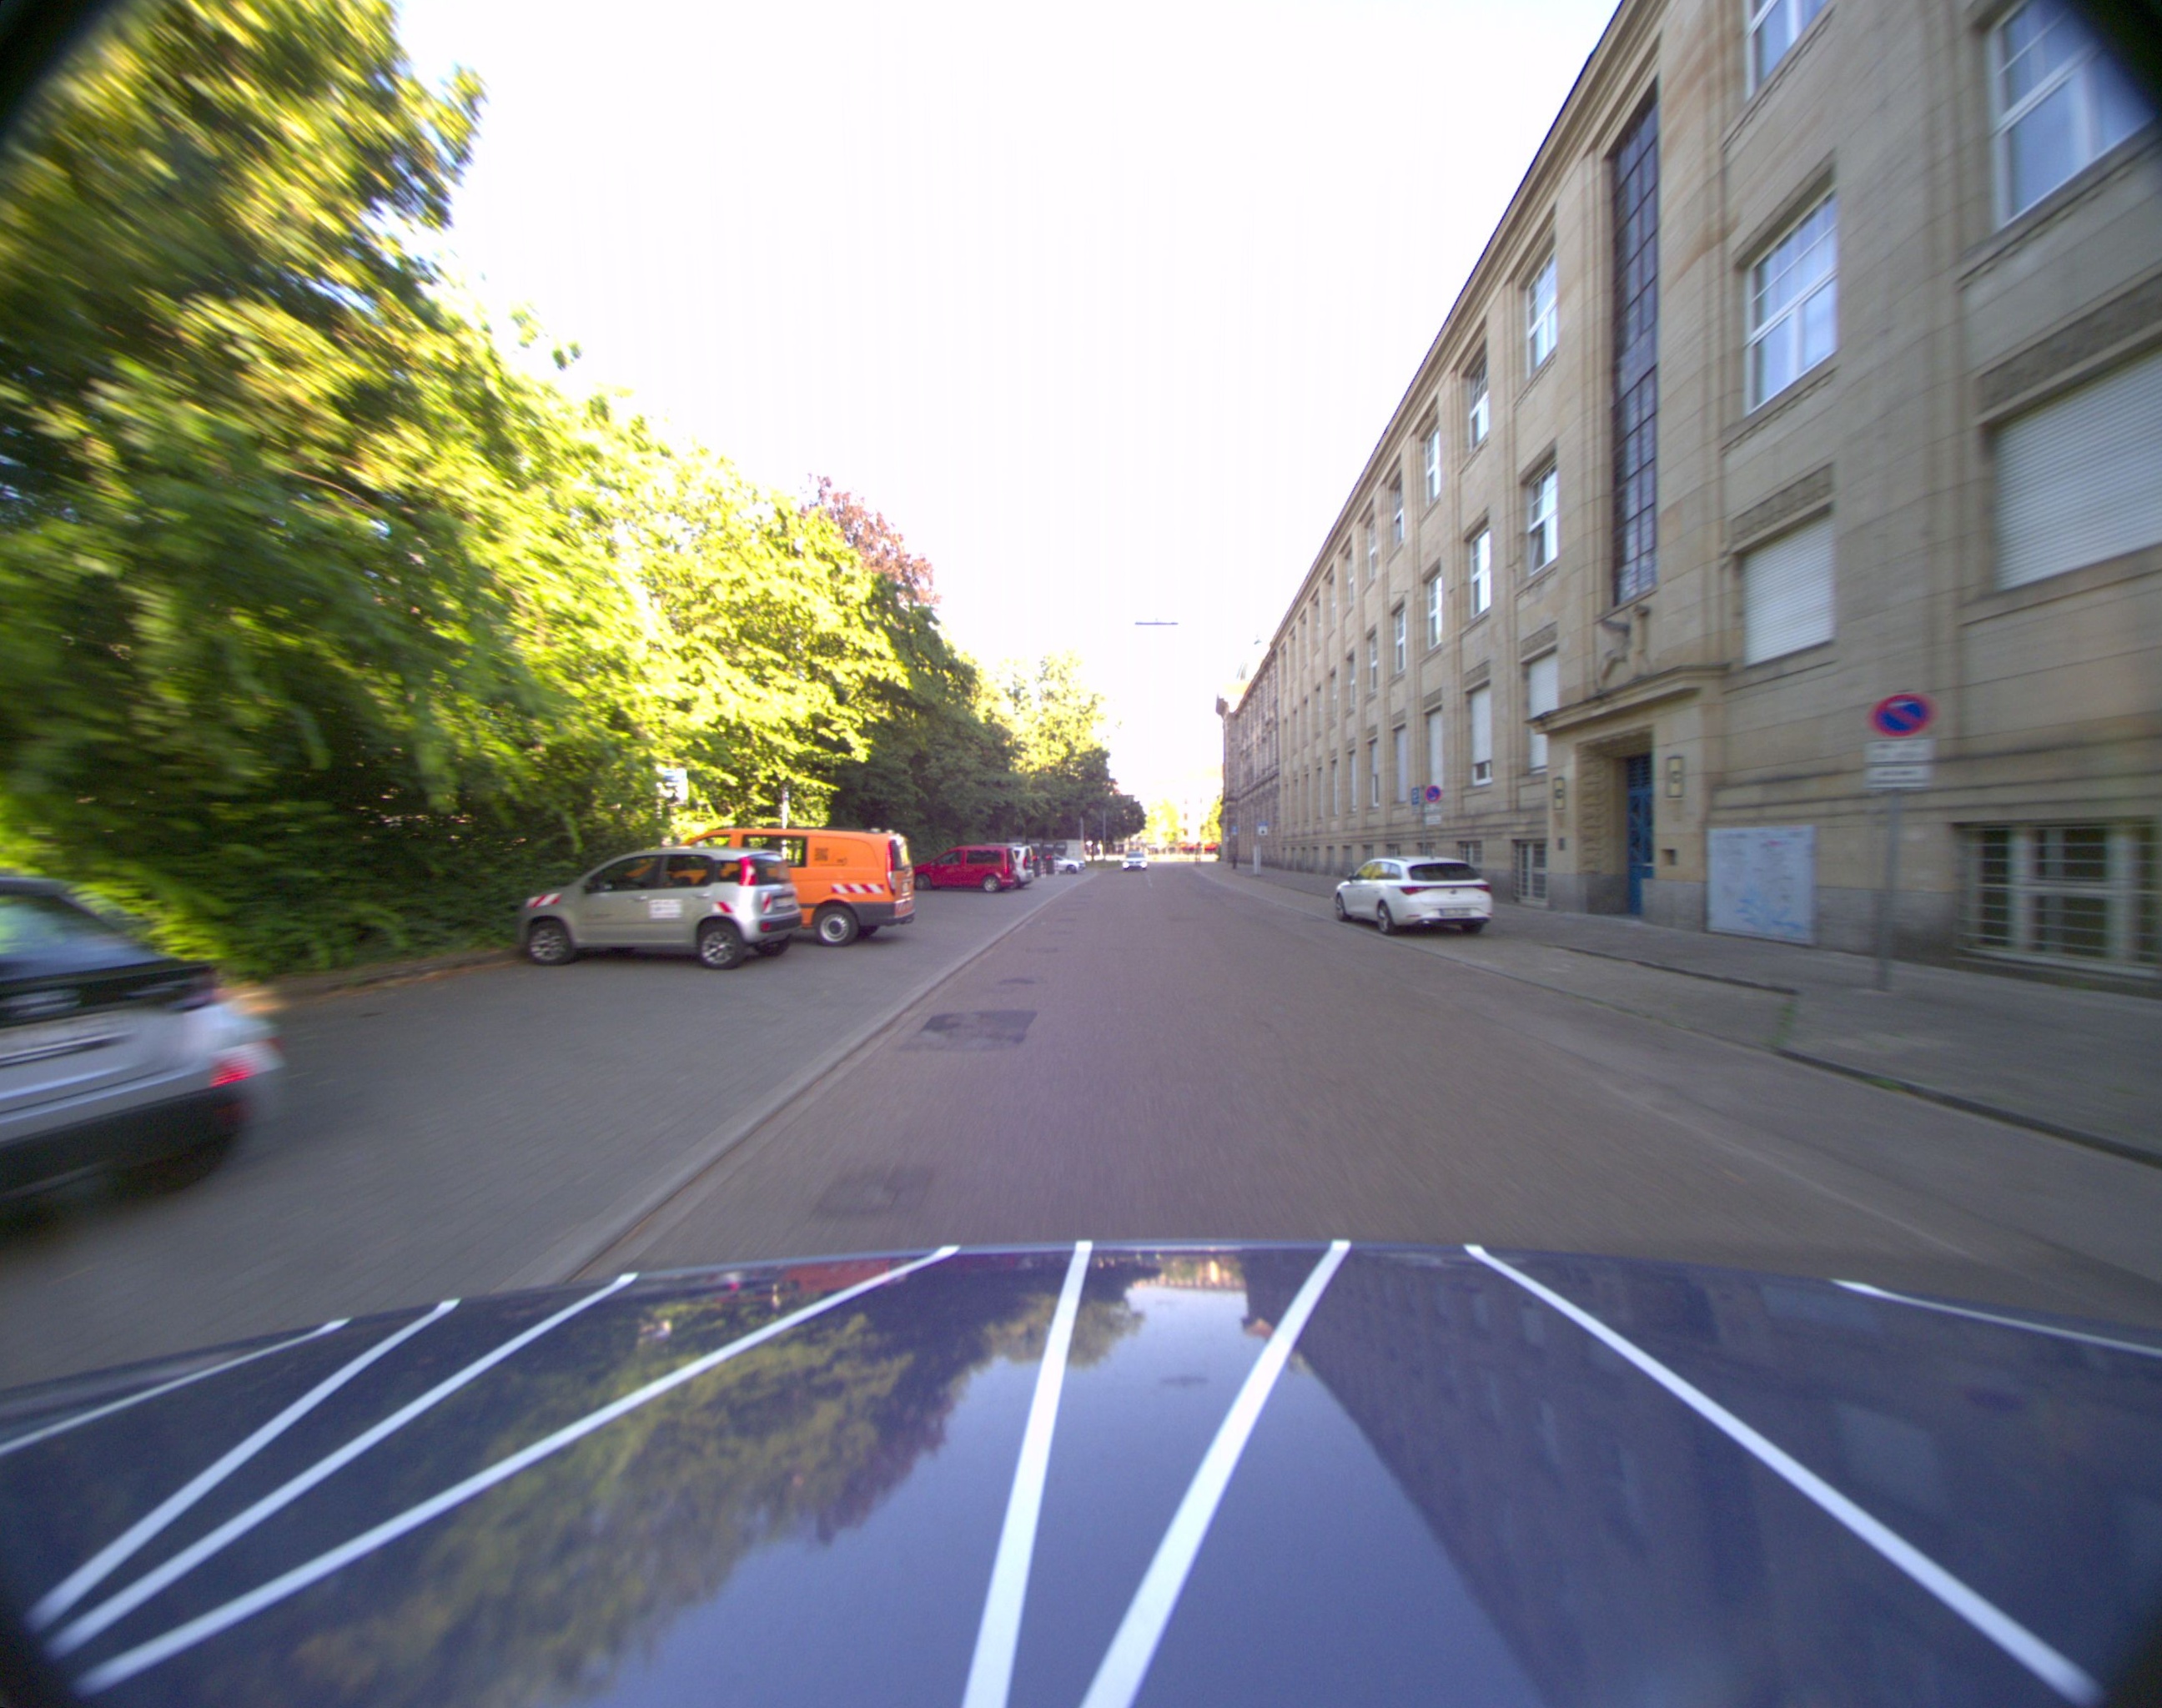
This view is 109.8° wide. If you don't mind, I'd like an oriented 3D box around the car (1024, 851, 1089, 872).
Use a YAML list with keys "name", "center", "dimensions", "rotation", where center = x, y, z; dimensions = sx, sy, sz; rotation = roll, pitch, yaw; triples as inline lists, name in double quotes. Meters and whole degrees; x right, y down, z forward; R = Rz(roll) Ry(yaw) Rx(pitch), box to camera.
- name: "car"
  center: [-1.736, 0.511, 54.444]
  dimensions: [4.440, 1.458, 1.711]
  rotation: [0, 1, 6]

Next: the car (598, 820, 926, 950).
- name: "car"
  center: [-5.320, 0.490, 13.216]
  dimensions: [4.808, 1.986, 2.080]
  rotation: [1, 1, -1]

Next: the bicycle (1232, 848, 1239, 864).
- name: "bicycle"
  center: [11.867, 0.135, 58.444]
  dimensions: [0.457, 1.202, 1.880]
  rotation: [0, 1, 14]

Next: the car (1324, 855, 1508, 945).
- name: "car"
  center: [6.409, 0.787, 15.152]
  dimensions: [1.748, 1.426, 4.561]
  rotation: [-2, 0, 2]

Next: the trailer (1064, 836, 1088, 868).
- name: "trailer"
  center: [-0.421, -0.192, 64.840]
  dimensions: [1.600, 2.625, 3.704]
  rotation: [0, 1, 6]

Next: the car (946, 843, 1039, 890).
- name: "car"
  center: [-3.743, 0.513, 32.591]
  dimensions: [3.608, 1.873, 1.784]
  rotation: [1, 1, 7]

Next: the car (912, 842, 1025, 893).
- name: "car"
  center: [-4.397, 0.502, 29.999]
  dimensions: [3.979, 1.852, 1.920]
  rotation: [1, 1, 8]

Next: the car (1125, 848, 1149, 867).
- name: "car"
  center: [4.598, 0.268, 62.200]
  dimensions: [1.687, 1.445, 4.105]
  rotation: [0, 1, 8]

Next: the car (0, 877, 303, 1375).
- name: "car"
  center: [-5.461, 0.865, 2.531]
  dimensions: [3.996, 1.538, 1.735]
  rotation: [1, 1, 1]

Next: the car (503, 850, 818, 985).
- name: "car"
  center: [-5.656, 0.791, 10.491]
  dimensions: [3.404, 1.622, 1.680]
  rotation: [1, 1, 3]
